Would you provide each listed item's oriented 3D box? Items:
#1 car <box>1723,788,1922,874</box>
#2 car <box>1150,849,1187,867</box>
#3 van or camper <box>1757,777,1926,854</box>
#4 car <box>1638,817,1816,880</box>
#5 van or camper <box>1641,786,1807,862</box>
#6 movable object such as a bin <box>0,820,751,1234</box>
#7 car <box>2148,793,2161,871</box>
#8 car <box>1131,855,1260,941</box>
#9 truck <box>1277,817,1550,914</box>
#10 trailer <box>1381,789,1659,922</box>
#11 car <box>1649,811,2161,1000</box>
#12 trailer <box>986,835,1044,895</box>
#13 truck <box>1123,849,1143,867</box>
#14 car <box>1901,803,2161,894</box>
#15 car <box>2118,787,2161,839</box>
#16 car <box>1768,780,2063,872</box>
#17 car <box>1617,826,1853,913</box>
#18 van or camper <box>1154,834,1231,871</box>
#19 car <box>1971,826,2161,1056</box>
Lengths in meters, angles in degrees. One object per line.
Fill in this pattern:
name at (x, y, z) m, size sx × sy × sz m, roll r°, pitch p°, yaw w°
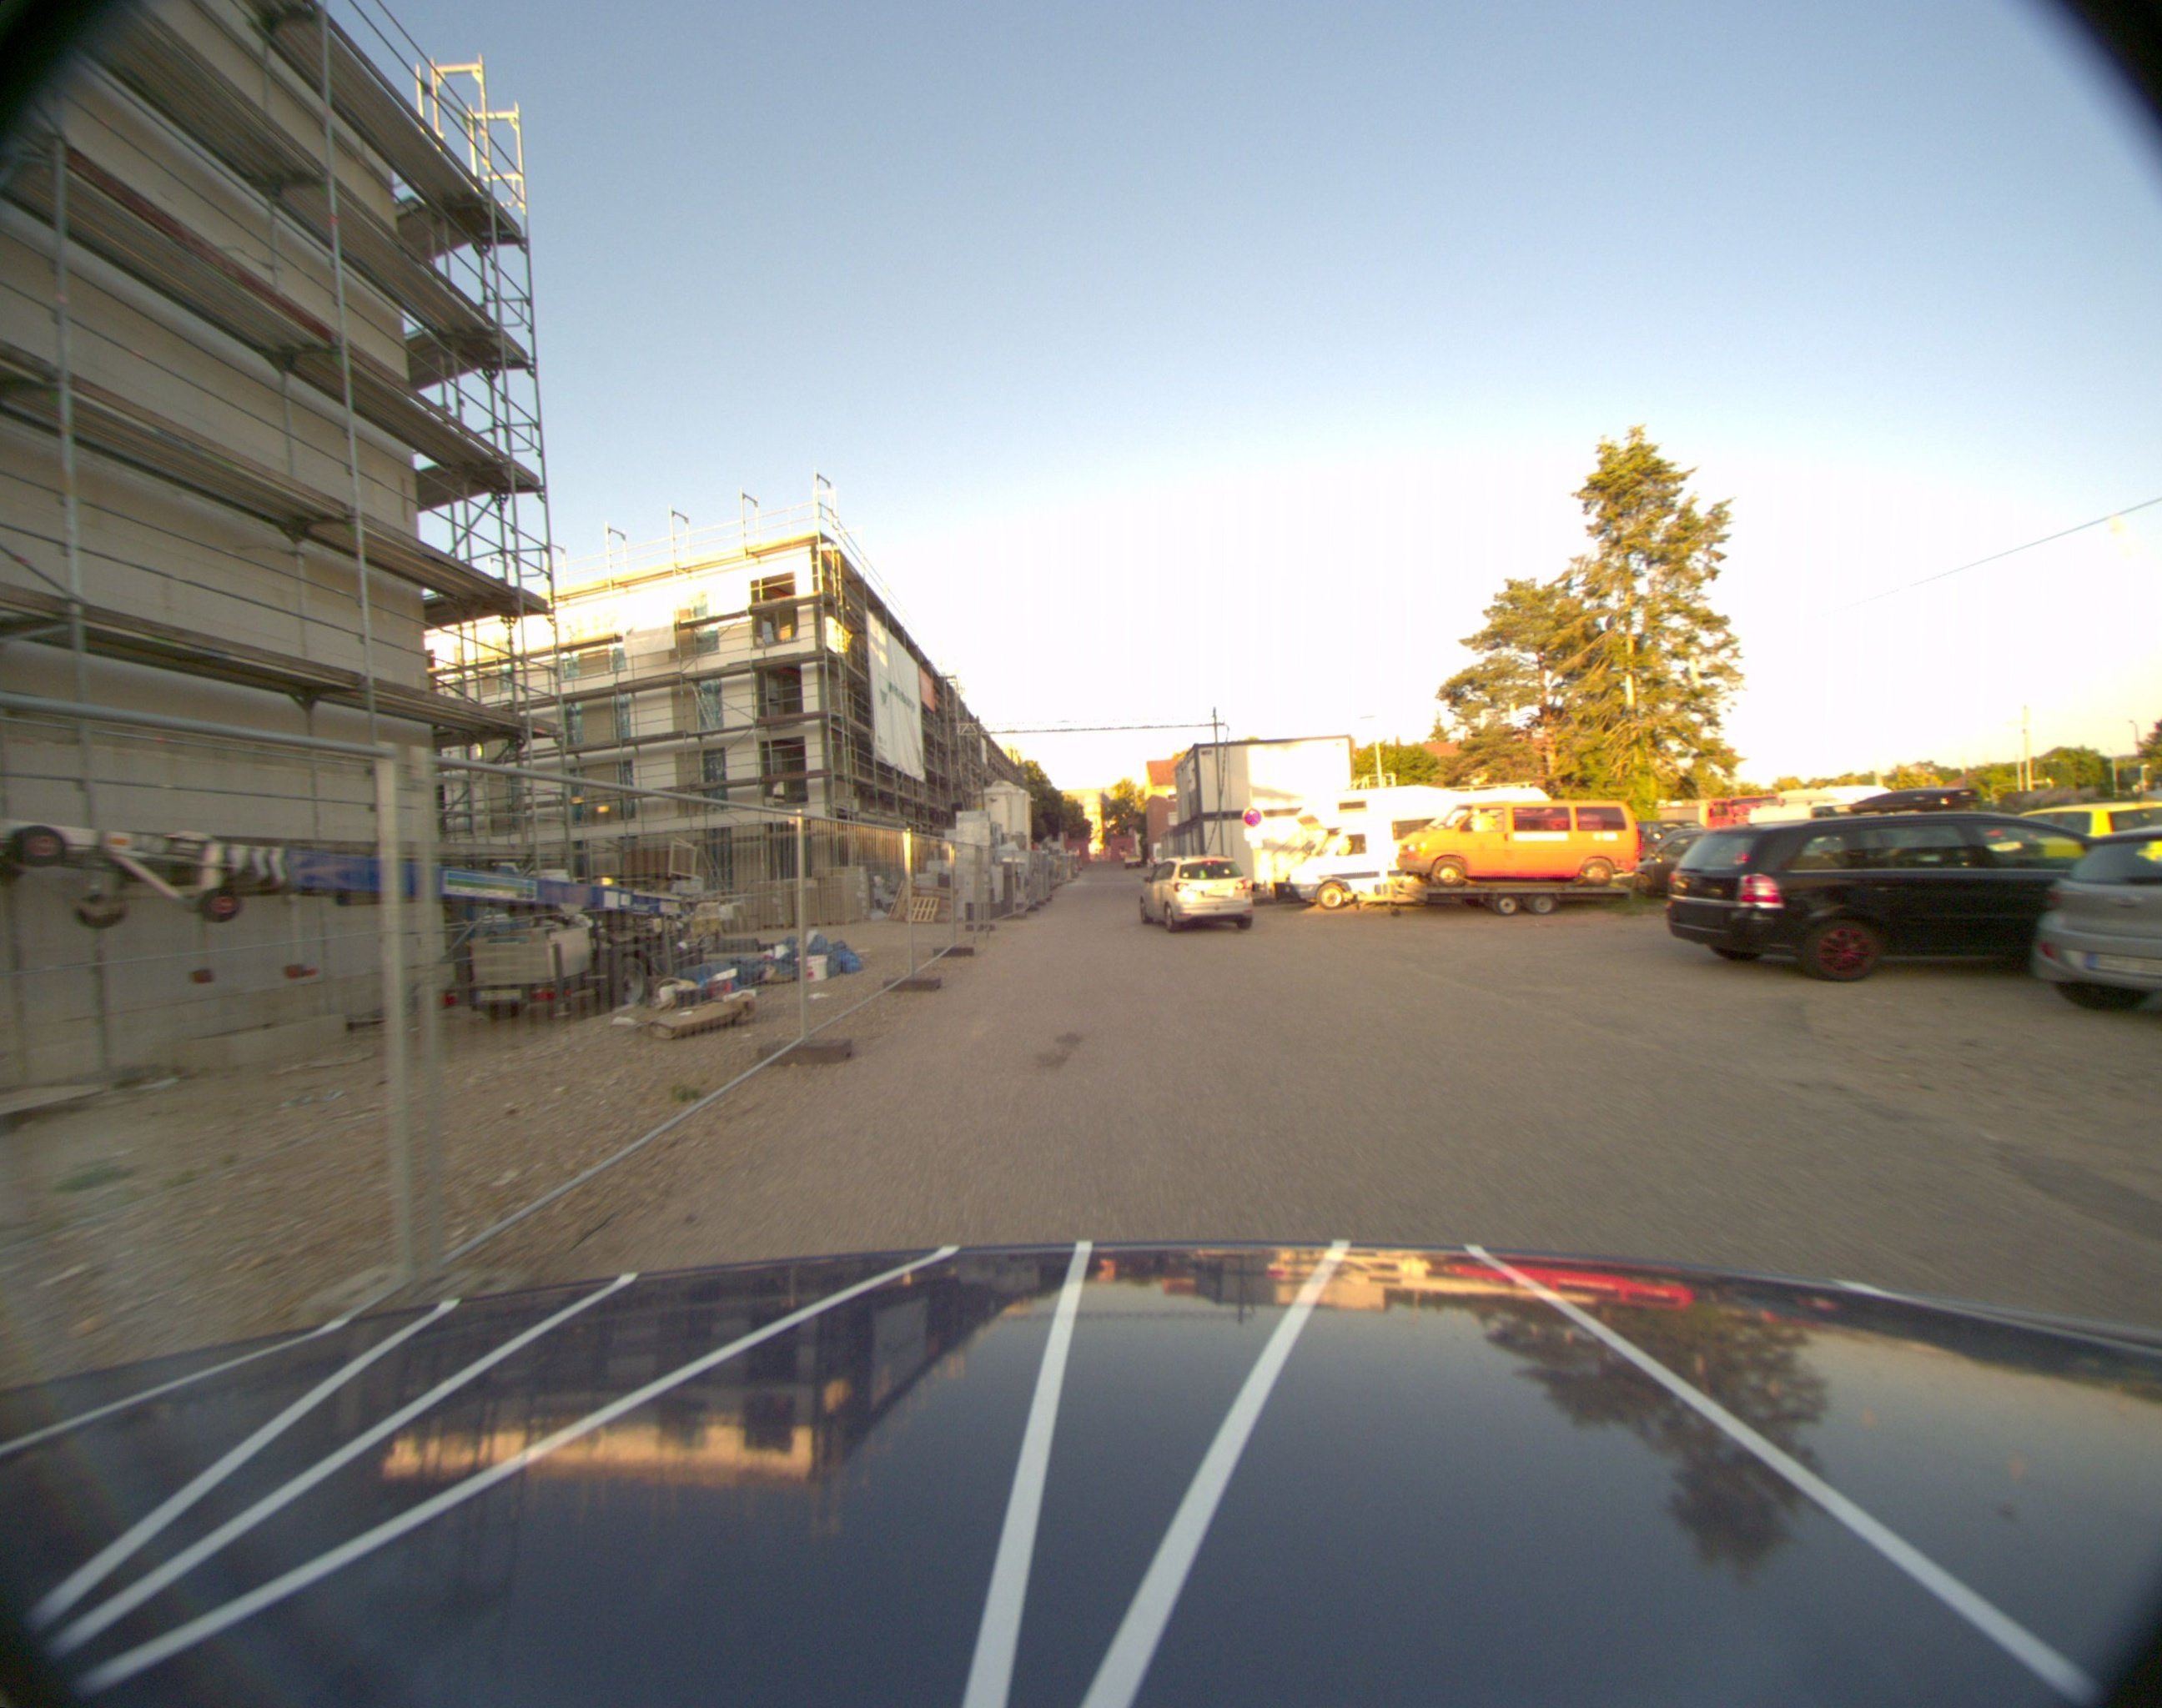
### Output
car at (21.325, -0.524, 22.203) m, size 1.846 × 2.135 × 4.828 m, roll -3°, pitch -2°, yaw 13°
car at (9.261, 0.414, 80.508) m, size 3.725 × 1.507 × 1.810 m, roll -5°, pitch 0°, yaw 4°
van or camper at (30.739, -1.463, 31.035) m, size 2.206 × 2.692 × 5.753 m, roll -3°, pitch 0°, yaw 15°
car at (18.809, -0.061, 22.474) m, size 1.846 × 1.558 × 4.827 m, roll -3°, pitch -2°, yaw 12°
van or camper at (26.640, -1.156, 31.858) m, size 2.260 × 2.754 × 5.802 m, roll -3°, pitch 0°, yaw 4°
movable object such as a bin at (-6.727, 0.975, 8.301) m, size 2.069 × 2.260 × 8.370 m, roll -2°, pitch 0°, yaw 3°
car at (23.399, -0.496, 14.107) m, size 1.847 × 1.659 × 3.940 m, roll -3°, pitch 0°, yaw 8°
car at (2.426, 0.880, 17.187) m, size 1.676 × 1.610 × 4.282 m, roll -4°, pitch 0°, yaw -7°
truck at (8.437, 0.296, 19.883) m, size 6.024 × 2.031 × 2.356 m, roll -4°, pitch 0°, yaw 5°
trailer at (9.512, 0.030, 16.899) m, size 4.801 × 2.419 × 2.135 m, roll -4°, pitch 2°, yaw 9°
car at (8.736, 0.495, 7.930) m, size 4.043 × 1.610 × 1.851 m, roll -3°, pitch 0°, yaw 11°
trailer at (-3.440, 0.565, 40.870) m, size 2.581 × 2.895 × 6.237 m, roll -2°, pitch 0°, yaw -1°
truck at (6.788, 0.502, 99.479) m, size 1.842 × 2.089 × 3.739 m, roll -5°, pitch 0°, yaw -5°
car at (19.102, -0.129, 15.005) m, size 1.847 × 1.514 × 3.940 m, roll -3°, pitch 0°, yaw 8°
car at (40.656, -1.551, 26.843) m, size 2.054 × 1.925 × 5.111 m, roll -3°, pitch 0°, yaw 17°
car at (16.401, -0.506, 15.302) m, size 1.847 × 1.514 × 3.940 m, roll -3°, pitch 0°, yaw 7°
car at (13.476, 0.274, 16.015) m, size 1.847 × 1.514 × 3.940 m, roll -3°, pitch 0°, yaw 7°
van or camper at (9.953, -0.106, 68.416) m, size 6.469 × 2.624 × 2.408 m, roll -5°, pitch 0°, yaw 4°
car at (9.225, 0.461, 5.057) m, size 3.932 × 1.511 × 1.811 m, roll -5°, pitch -1°, yaw 11°
